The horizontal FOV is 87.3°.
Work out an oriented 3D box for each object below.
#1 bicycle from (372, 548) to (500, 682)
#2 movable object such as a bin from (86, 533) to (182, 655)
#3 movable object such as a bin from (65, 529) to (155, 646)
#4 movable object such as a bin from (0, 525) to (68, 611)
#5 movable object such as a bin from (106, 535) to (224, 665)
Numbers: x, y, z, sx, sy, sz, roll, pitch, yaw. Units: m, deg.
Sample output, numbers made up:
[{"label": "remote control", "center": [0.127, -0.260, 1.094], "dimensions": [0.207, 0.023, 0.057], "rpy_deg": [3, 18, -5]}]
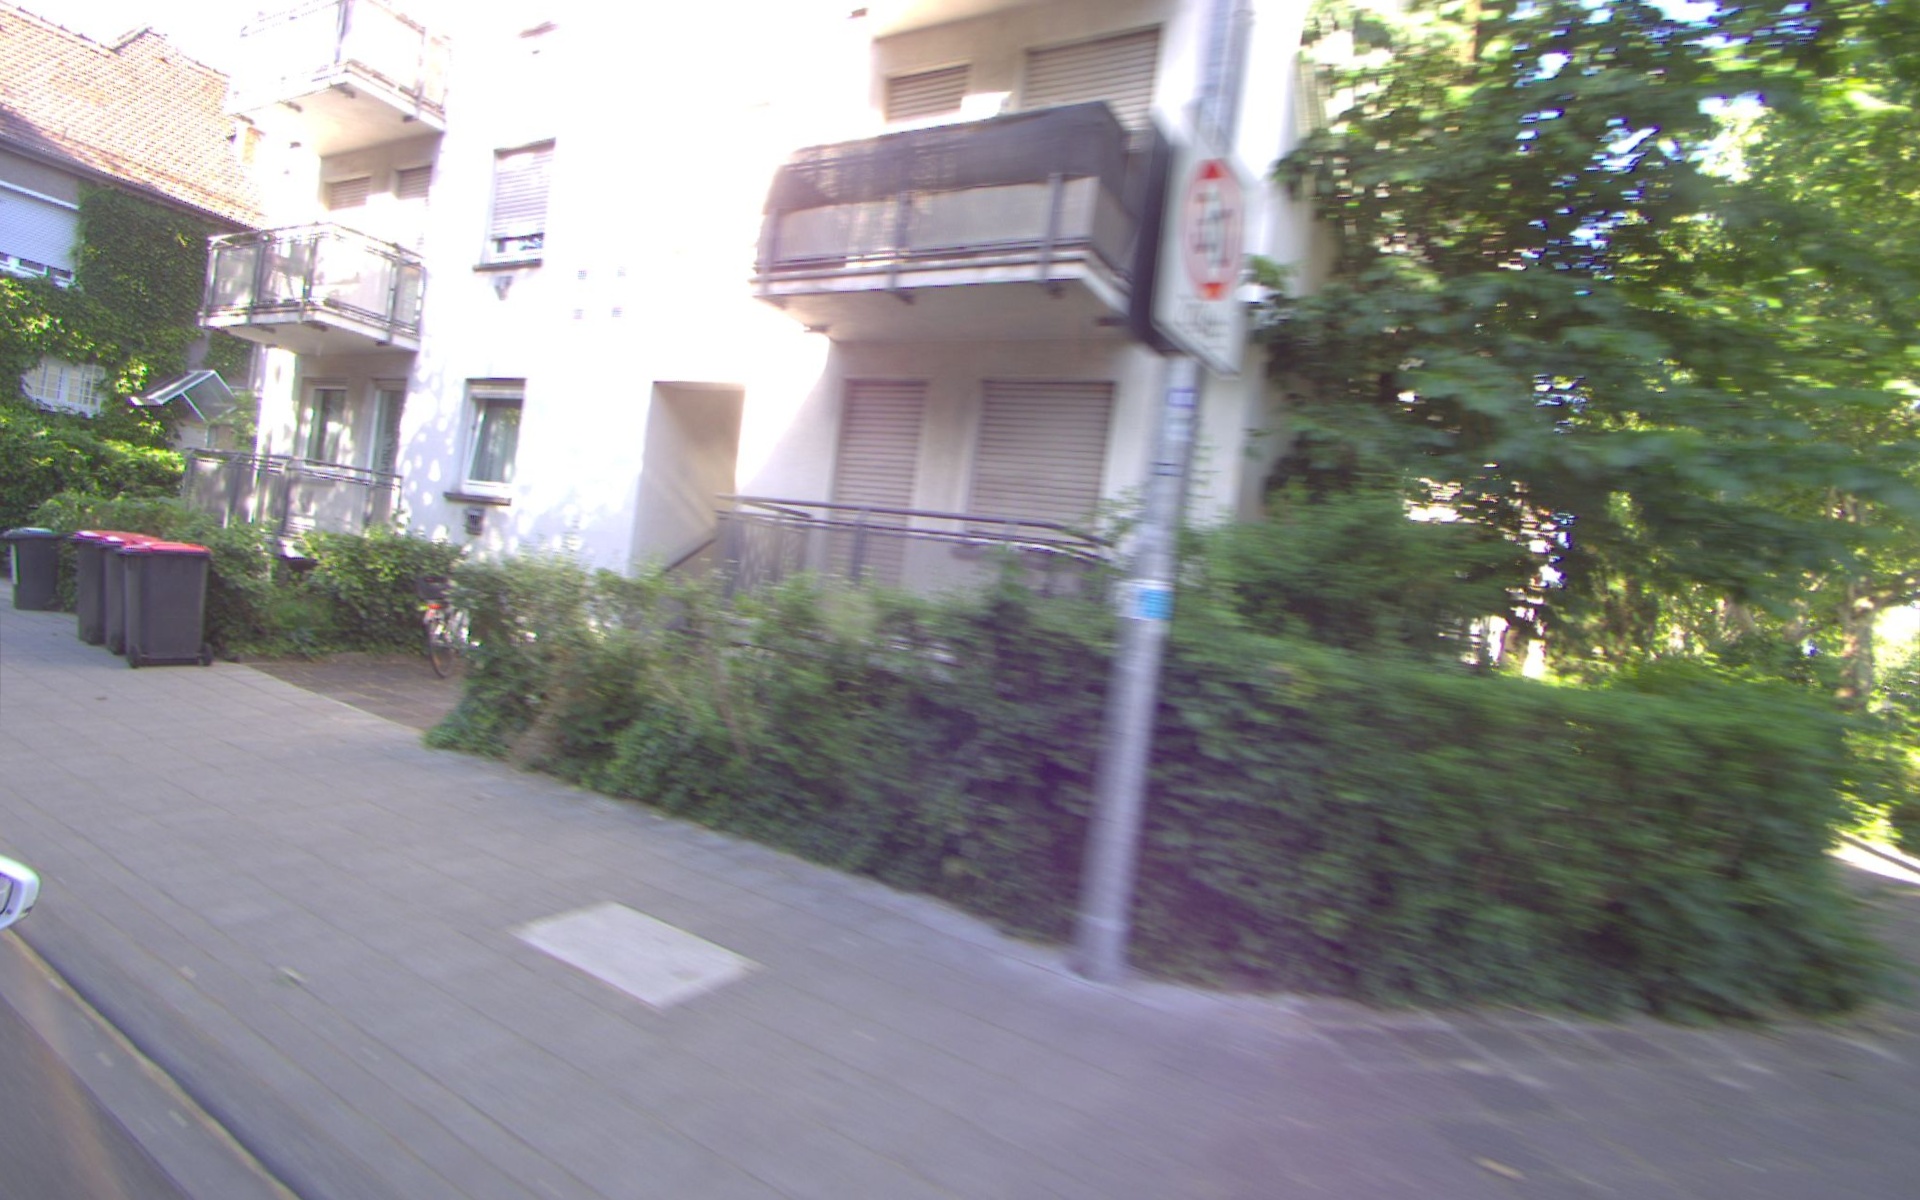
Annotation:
[{"label": "bicycle", "center": [-5.322, 0.109, 10.317], "dimensions": [0.633, 1.202, 1.574], "rpy_deg": [6, 3, -10]}, {"label": "movable object such as a bin", "center": [-7.740, -0.062, 9.429], "dimensions": [0.646, 1.059, 0.483], "rpy_deg": [8, 4, 31]}, {"label": "movable object such as a bin", "center": [-8.281, -0.120, 9.801], "dimensions": [0.608, 1.059, 0.483], "rpy_deg": [8, 4, 31]}, {"label": "movable object such as a bin", "center": [-10.832, -0.373, 11.744], "dimensions": [0.564, 0.928, 0.502], "rpy_deg": [8, 4, 36]}, {"label": "movable object such as a bin", "center": [-7.076, -0.005, 8.953], "dimensions": [0.695, 1.059, 0.597], "rpy_deg": [8, 4, 31]}]
